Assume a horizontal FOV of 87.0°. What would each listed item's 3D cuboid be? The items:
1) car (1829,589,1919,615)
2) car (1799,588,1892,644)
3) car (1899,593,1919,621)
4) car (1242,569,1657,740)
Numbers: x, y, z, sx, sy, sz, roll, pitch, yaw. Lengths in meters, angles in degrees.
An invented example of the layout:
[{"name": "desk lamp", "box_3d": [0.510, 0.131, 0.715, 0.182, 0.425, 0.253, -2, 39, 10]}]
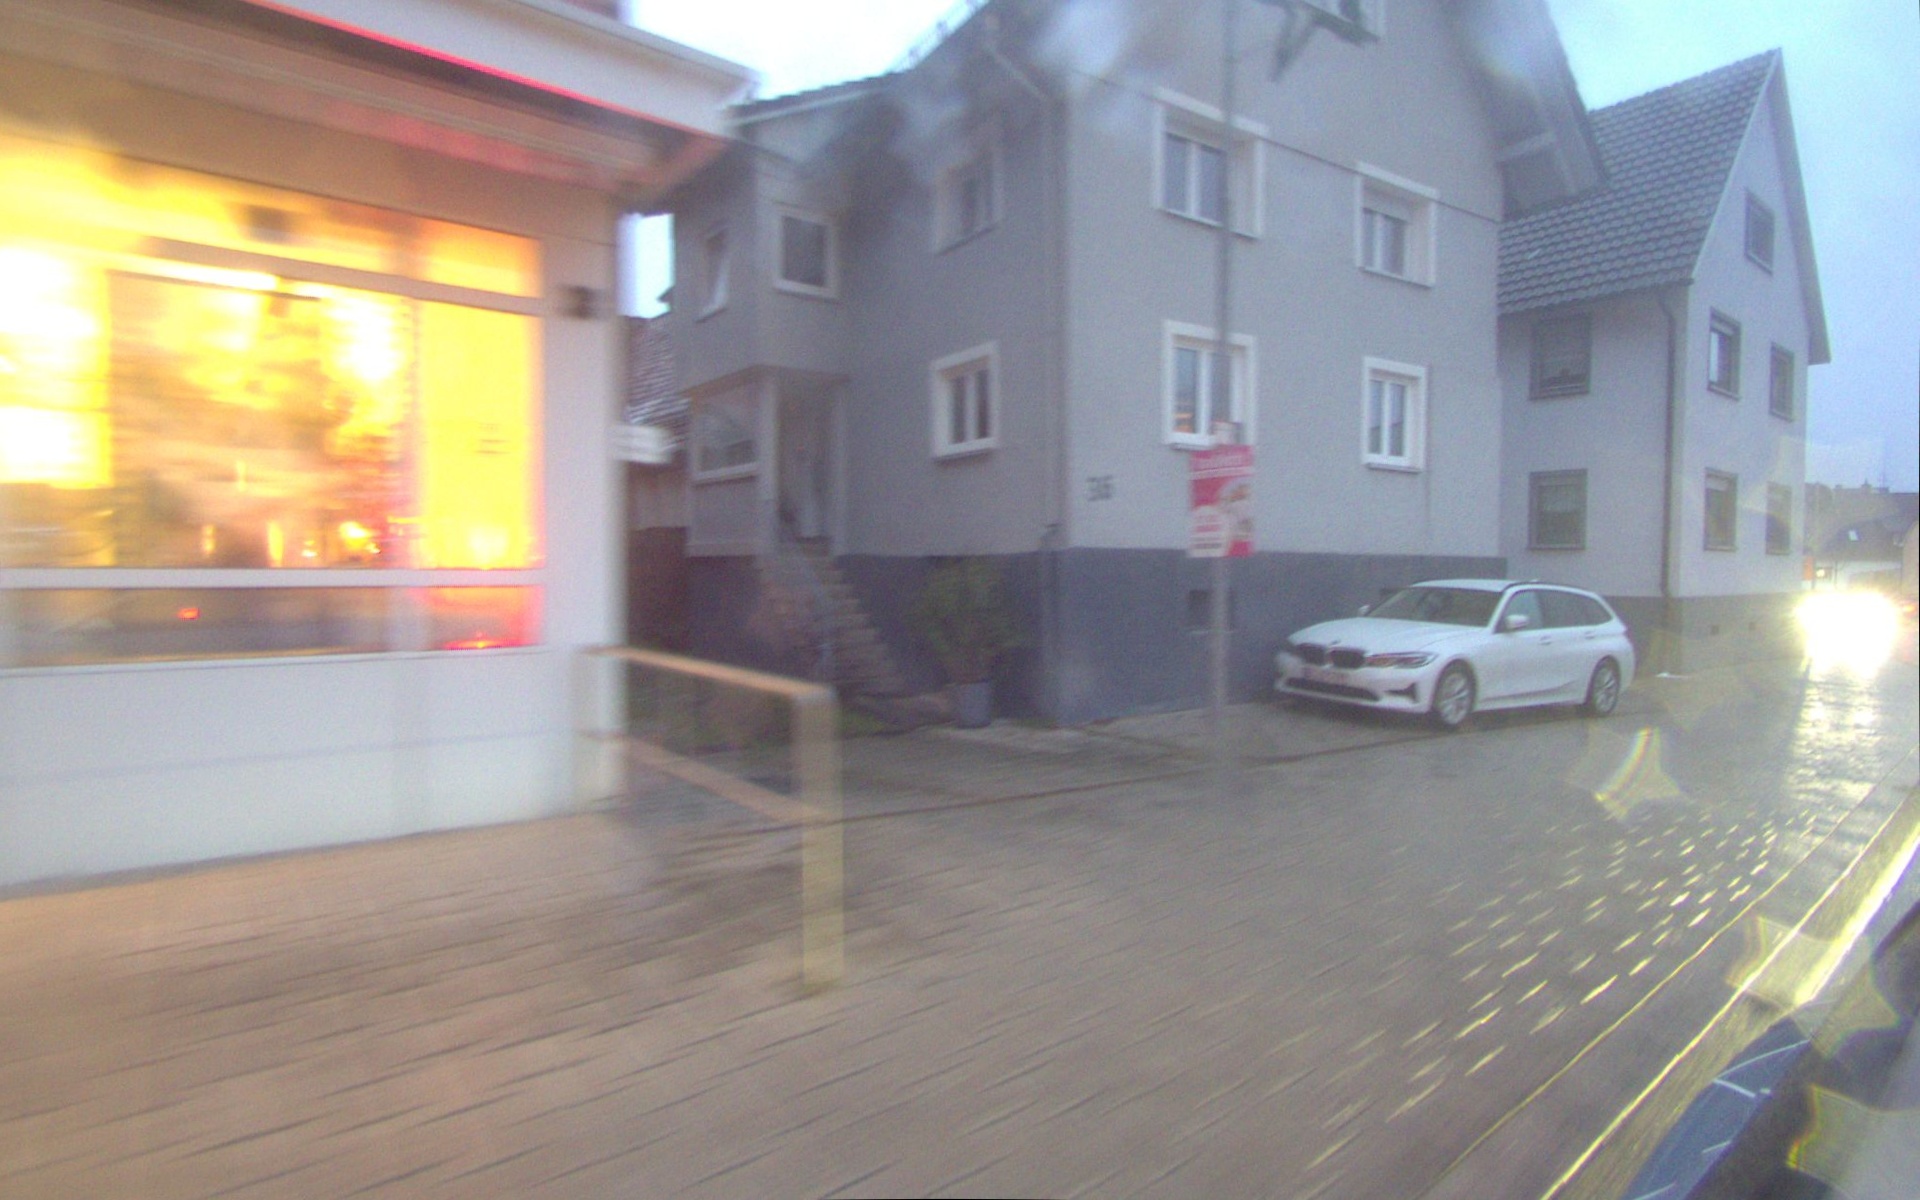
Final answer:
[{"name": "car", "box_3d": [48.293, 0.070, 52.777, 4.213, 1.315, 1.978, 0, 0, 32]}, {"name": "car", "box_3d": [34.263, 0.556, 39.270, 1.983, 2.039, 3.957, 0, 0, 30]}, {"name": "car", "box_3d": [48.239, 0.337, 48.715, 3.954, 1.315, 1.985, 0, 0, 23]}, {"name": "car", "box_3d": [5.387, 0.450, 10.952, 4.605, 1.504, 1.937, -1, 1, -33]}]
